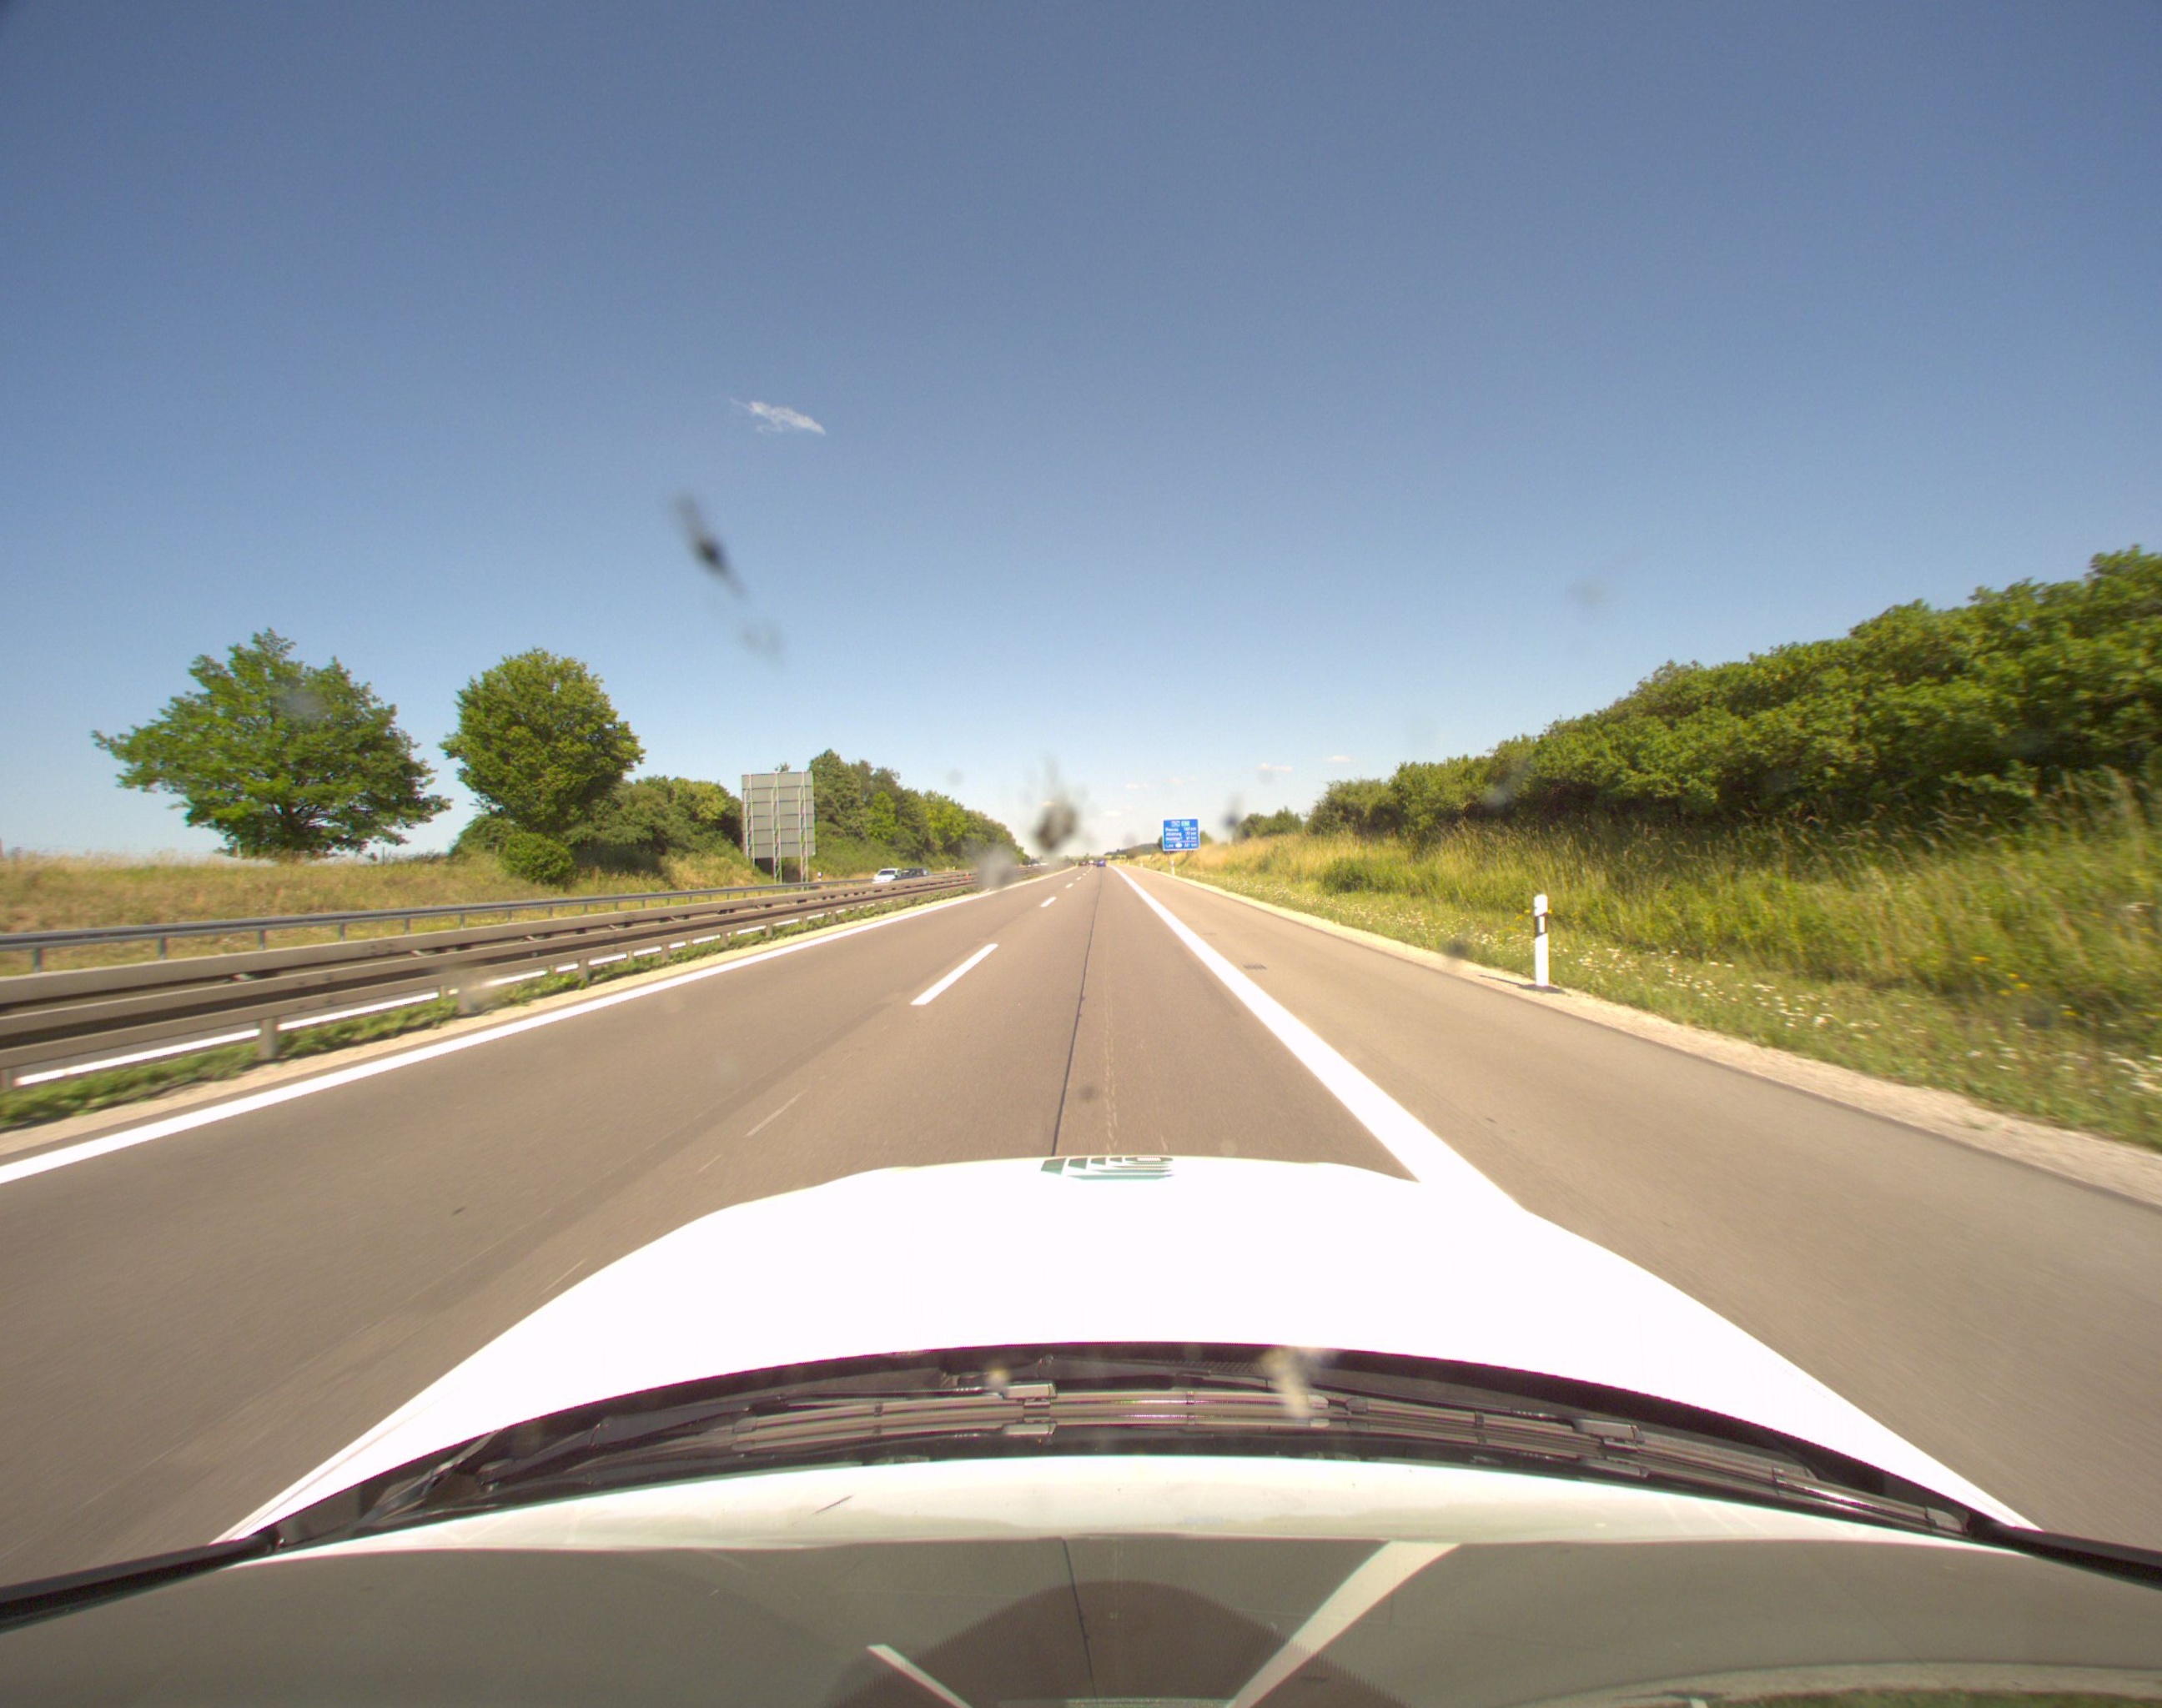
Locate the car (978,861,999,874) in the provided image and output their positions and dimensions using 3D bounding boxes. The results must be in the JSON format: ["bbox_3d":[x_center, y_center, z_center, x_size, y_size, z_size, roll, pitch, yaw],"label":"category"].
[{"bbox_3d":[-12.211,1.753,107.603,1.986,1.612,4.489,-3,0,2],"label":"car"}]

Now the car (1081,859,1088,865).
[{"bbox_3d":[1.030,2.349,230.283,1.822,1.453,3.594,-4,-1,2],"label":"car"}]

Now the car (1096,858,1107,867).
[{"bbox_3d":[3.799,1.536,150.115,1.669,1.453,3.595,-4,-1,4],"label":"car"}]

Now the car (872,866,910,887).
[{"bbox_3d":[-13.659,1.572,58.759,1.516,1.352,4.234,-2,0,2],"label":"car"}]

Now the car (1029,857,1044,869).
[{"bbox_3d":[-7.555,1.492,137.884,1.986,1.973,5.041,-3,0,2],"label":"car"}]

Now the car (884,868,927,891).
[{"bbox_3d":[-10.062,1.448,46.834,1.516,1.156,3.767,-2,0,2],"label":"car"}]
